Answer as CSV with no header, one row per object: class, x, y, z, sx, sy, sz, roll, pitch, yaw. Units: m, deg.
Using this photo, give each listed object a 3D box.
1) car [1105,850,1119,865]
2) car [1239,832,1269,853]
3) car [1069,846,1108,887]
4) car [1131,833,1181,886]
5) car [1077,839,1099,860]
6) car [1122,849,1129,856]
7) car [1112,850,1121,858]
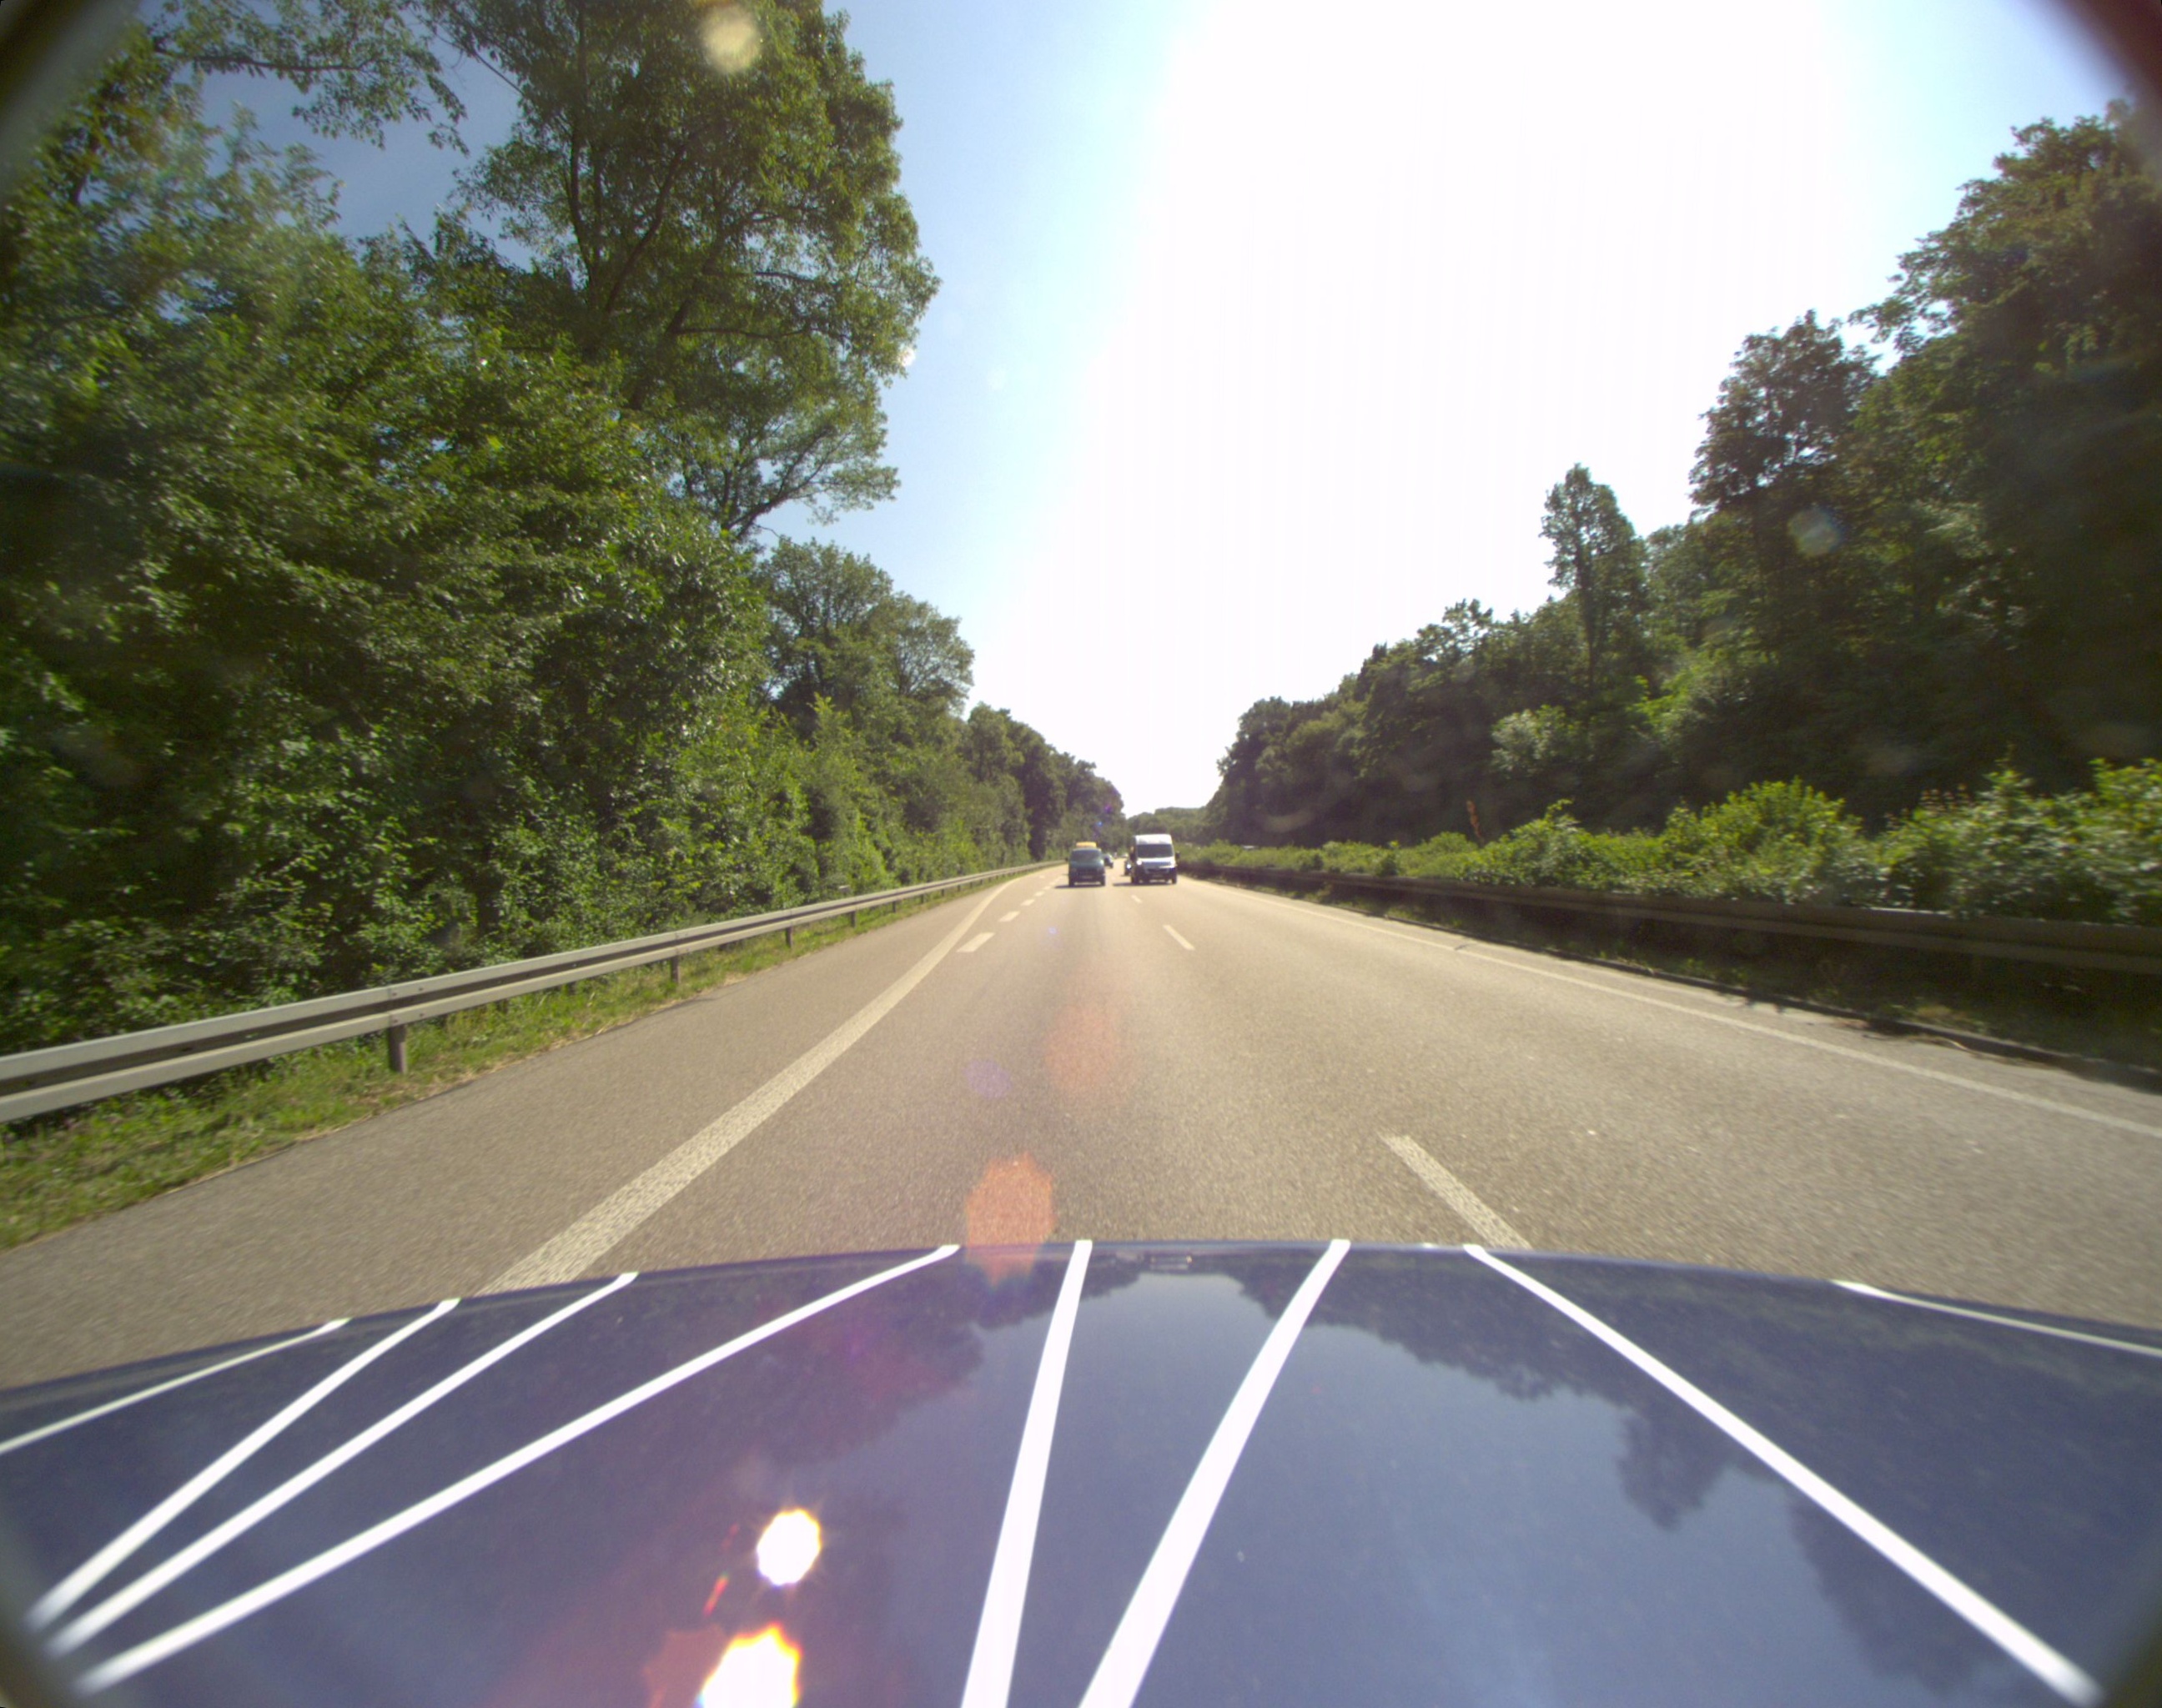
car,3.500,0.373,85.670,1.517,1.624,3.611,-2,1,1
car,16.958,-1.135,74.683,1.998,2.002,3.999,-2,1,1
car,0.394,0.574,38.517,1.812,1.921,4.581,-2,1,1
car,3.687,0.239,38.335,2.046,2.430,4.637,-2,1,1
car,0.637,-0.381,64.254,1.737,1.624,3.899,-2,1,1
car,13.485,-0.573,230.168,1.998,2.002,4.000,-2,1,3
car,9.431,-0.095,201.264,1.998,2.002,4.001,-2,1,4
